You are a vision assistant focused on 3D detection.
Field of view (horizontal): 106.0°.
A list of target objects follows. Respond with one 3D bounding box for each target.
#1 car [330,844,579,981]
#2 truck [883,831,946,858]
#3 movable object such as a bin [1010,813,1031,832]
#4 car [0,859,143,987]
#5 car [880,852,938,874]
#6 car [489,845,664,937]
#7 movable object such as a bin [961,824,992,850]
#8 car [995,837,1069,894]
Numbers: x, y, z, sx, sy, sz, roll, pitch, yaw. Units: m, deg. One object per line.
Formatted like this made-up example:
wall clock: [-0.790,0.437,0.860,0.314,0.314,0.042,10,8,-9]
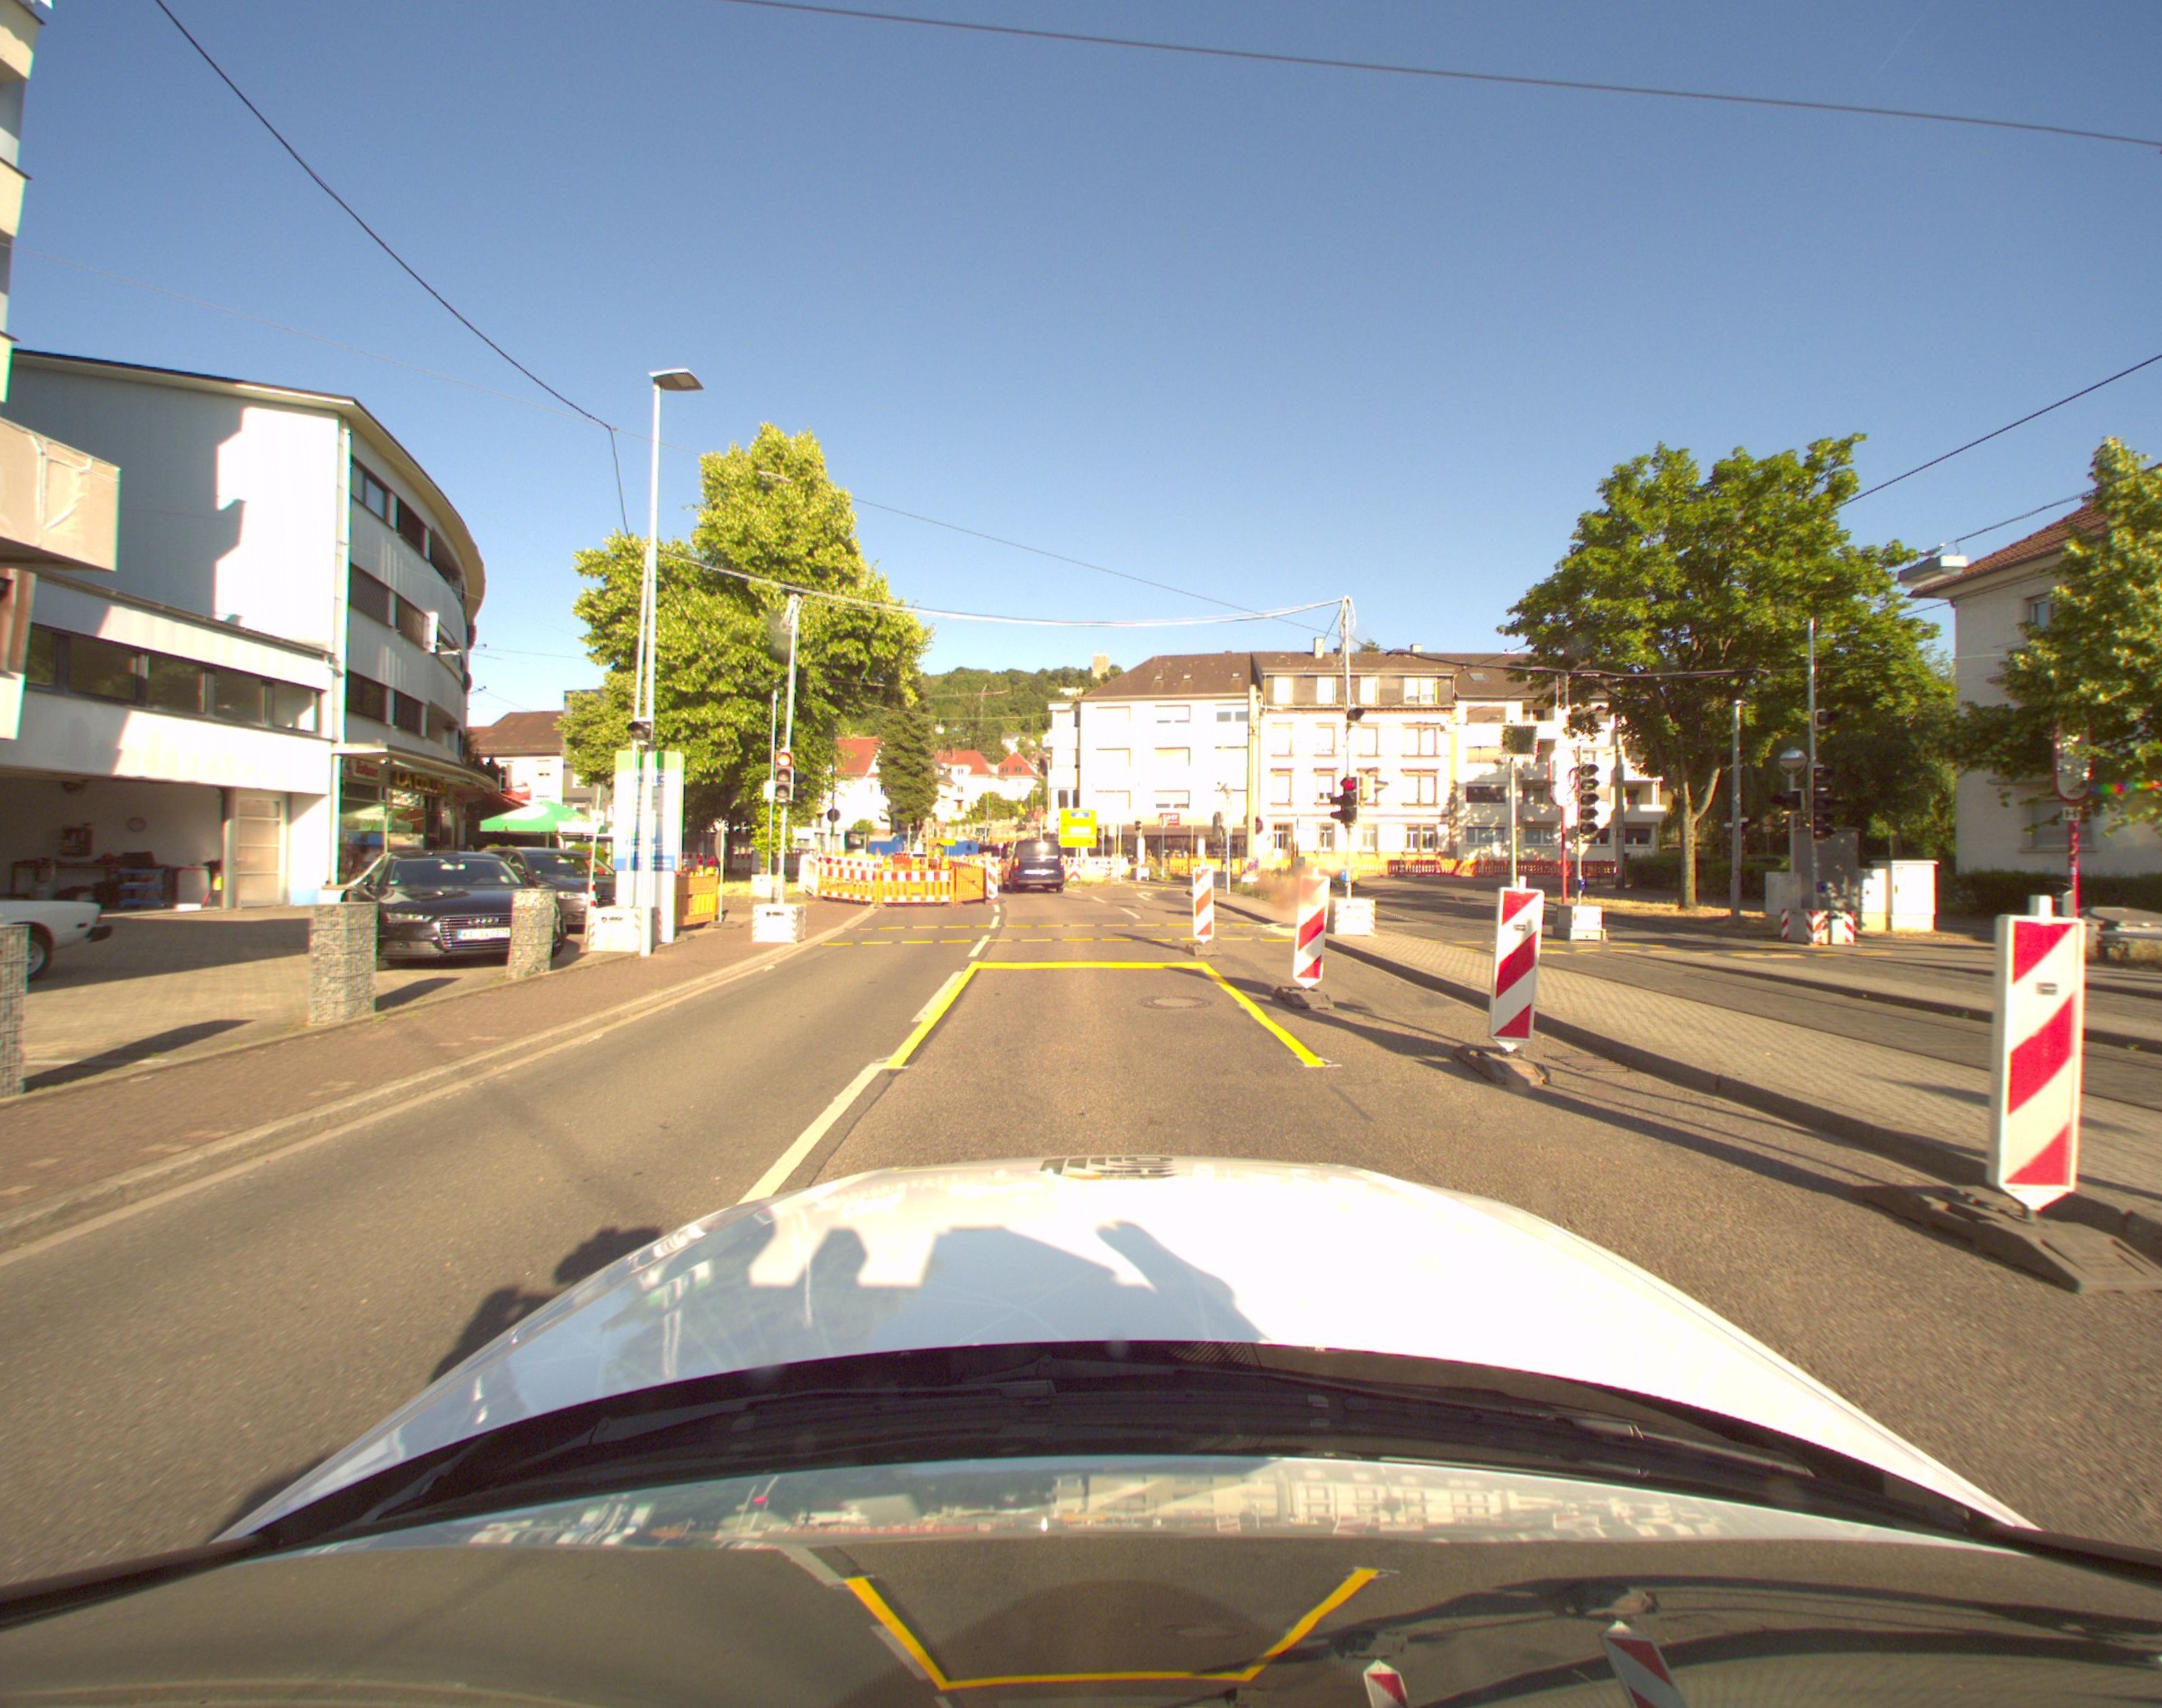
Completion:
car: [-8.637,0.634,11.093,4.259,1.454,1.922,2,0,42]
truck: [-15.509,-0.823,76.657,2.340,2.415,9.181,0,0,12]
movable object such as a bin: [-9.013,-4.615,121.809,2.177,2.690,4.012,0,0,11]
car: [-11.888,0.741,7.632,1.583,1.284,4.133,0,1,-4]
car: [-11.416,0.555,53.809,3.950,1.409,1.811,0,0,43]
car: [-9.611,0.593,15.373,4.245,1.454,1.660,2,0,42]
movable object such as a bin: [-11.158,-1.806,87.231,2.177,2.690,4.012,0,0,11]
car: [-1.990,0.395,31.417,2.064,2.013,4.977,0,0,-13]
